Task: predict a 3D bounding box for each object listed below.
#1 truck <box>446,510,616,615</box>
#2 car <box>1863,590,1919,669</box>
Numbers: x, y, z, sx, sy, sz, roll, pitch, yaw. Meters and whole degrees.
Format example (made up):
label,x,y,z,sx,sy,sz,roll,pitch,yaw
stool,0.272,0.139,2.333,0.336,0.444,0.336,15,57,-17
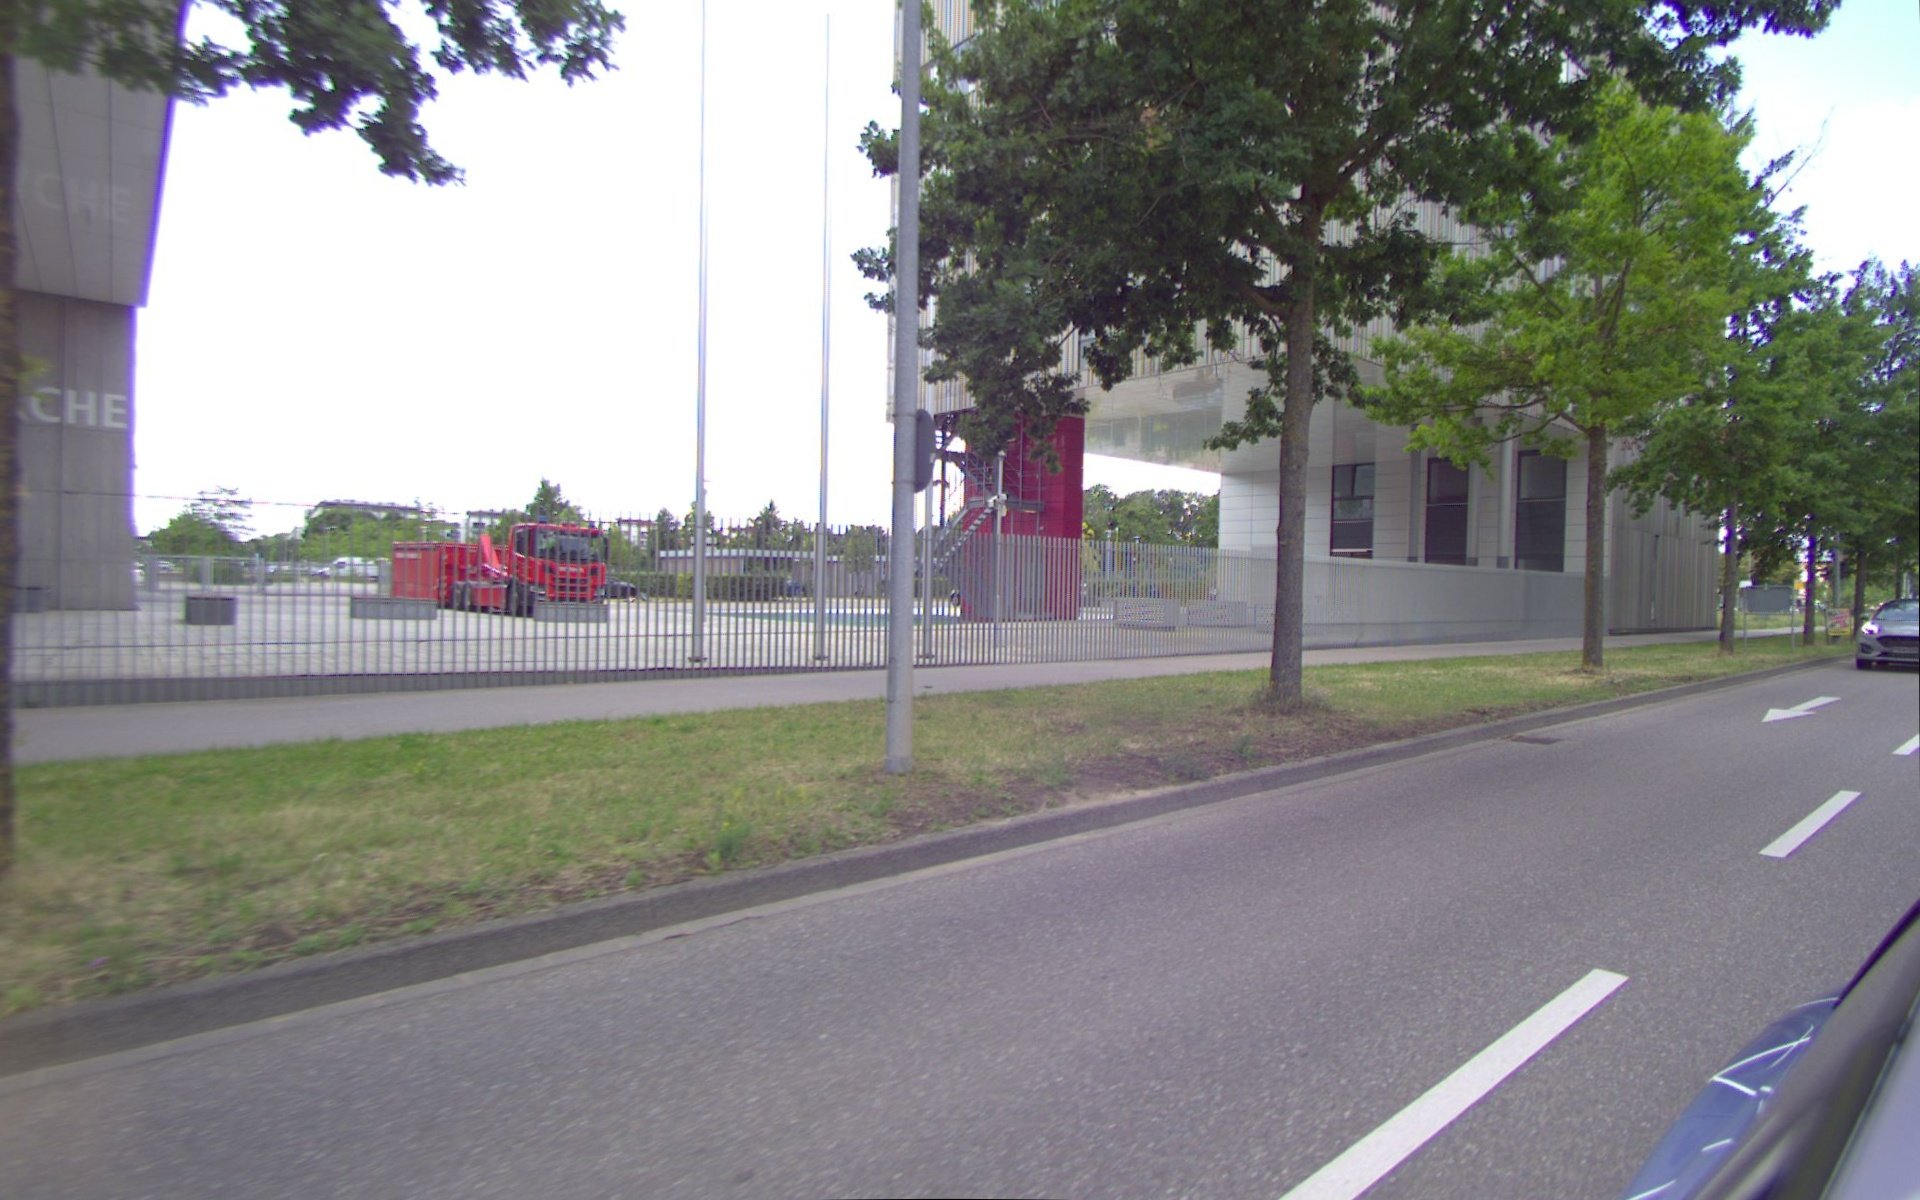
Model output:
label,x,y,z,sx,sy,sz,roll,pitch,yaw
truck,-14.134,-1.098,32.966,2.494,3.040,7.782,0,0,-44
car,20.974,0.594,21.772,3.885,1.594,1.822,0,0,-41
